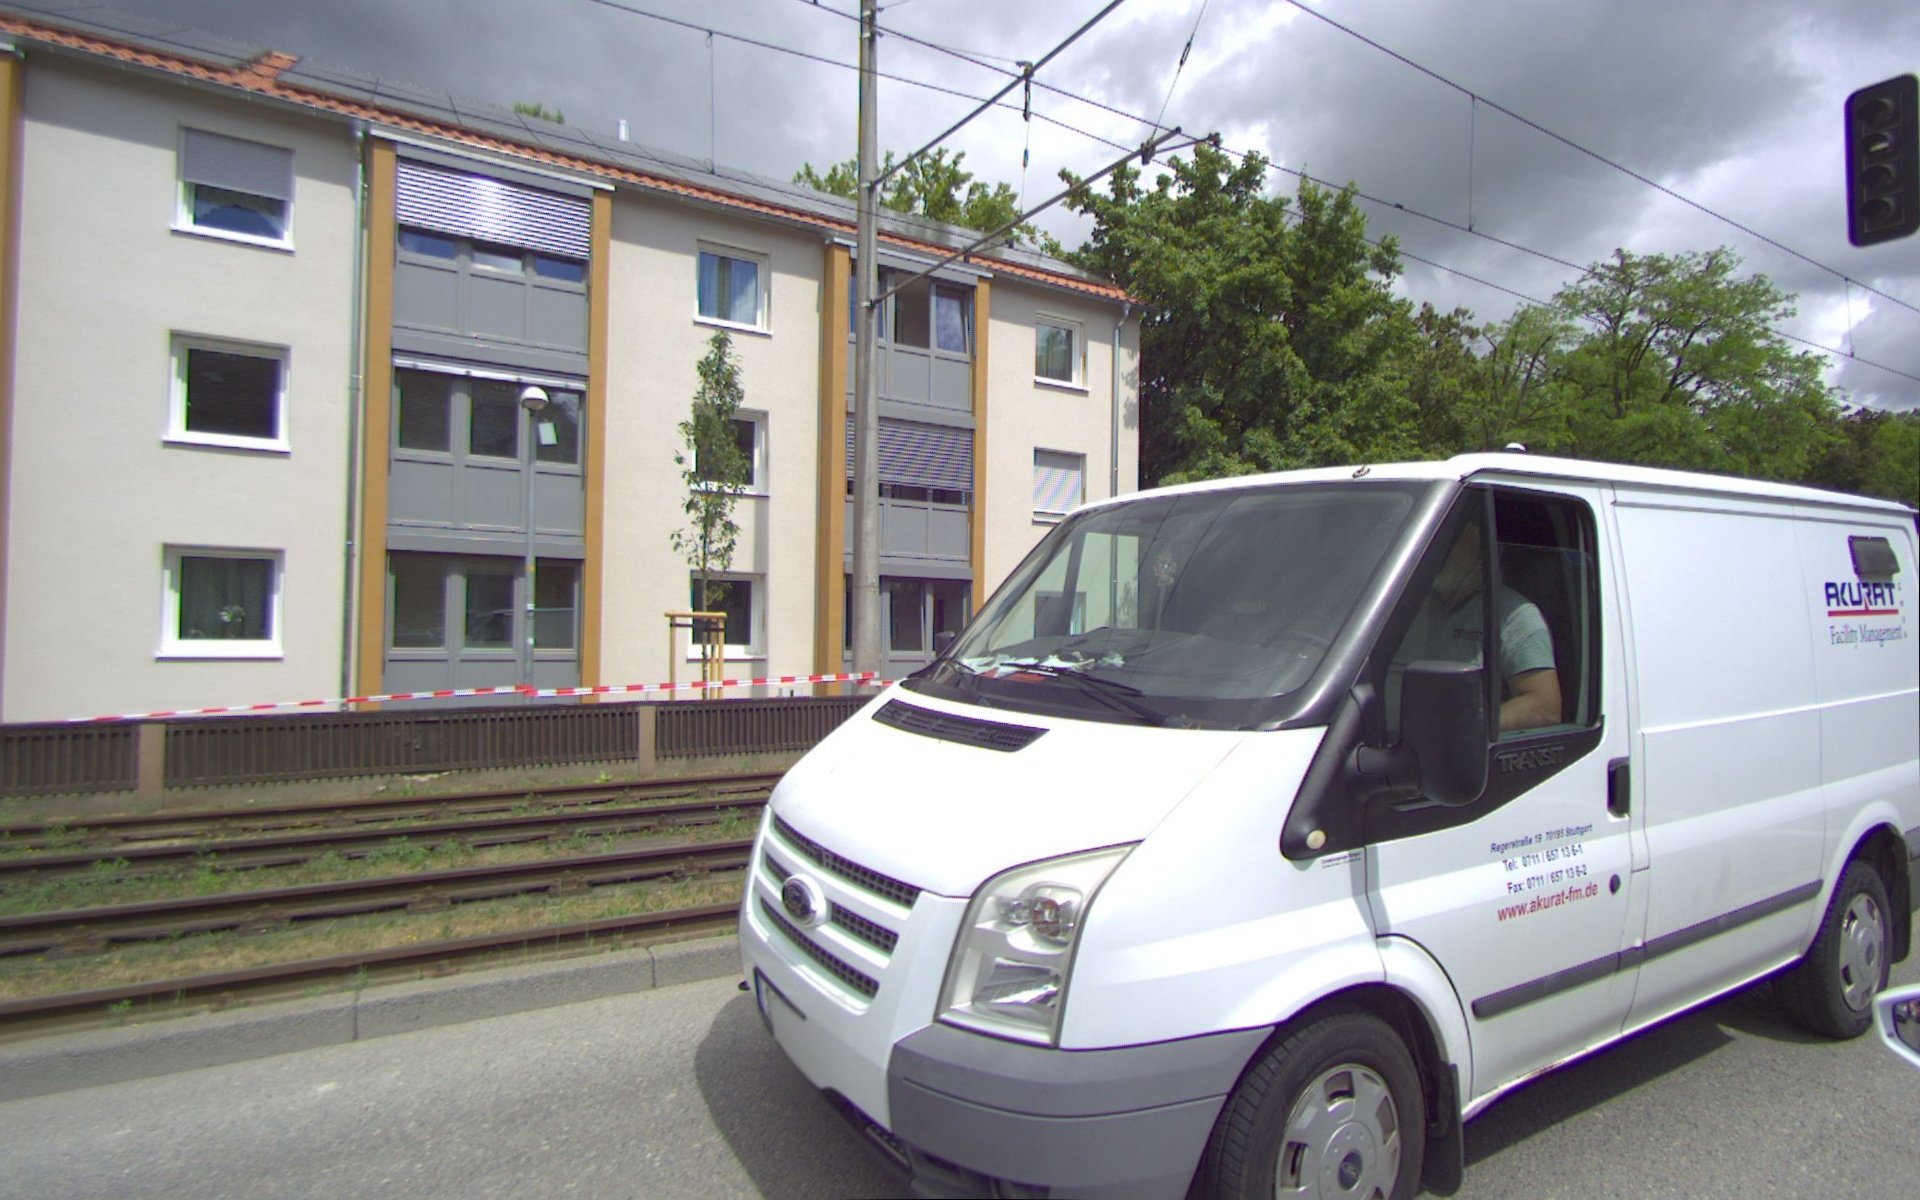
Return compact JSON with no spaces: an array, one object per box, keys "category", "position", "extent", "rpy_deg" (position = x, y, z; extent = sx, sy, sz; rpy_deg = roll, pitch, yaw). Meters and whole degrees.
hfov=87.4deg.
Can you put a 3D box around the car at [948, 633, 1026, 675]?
[{"category":"car","position":[1.241,2.557,47.349],"extent":[1.975,1.882,3.972],"rpy_deg":[2,-4,-28]}]

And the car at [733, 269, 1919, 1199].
[{"category":"car","position":[1.762,0.500,3.805],"extent":[4.732,2.023,1.983],"rpy_deg":[1,-1,-32]}]
